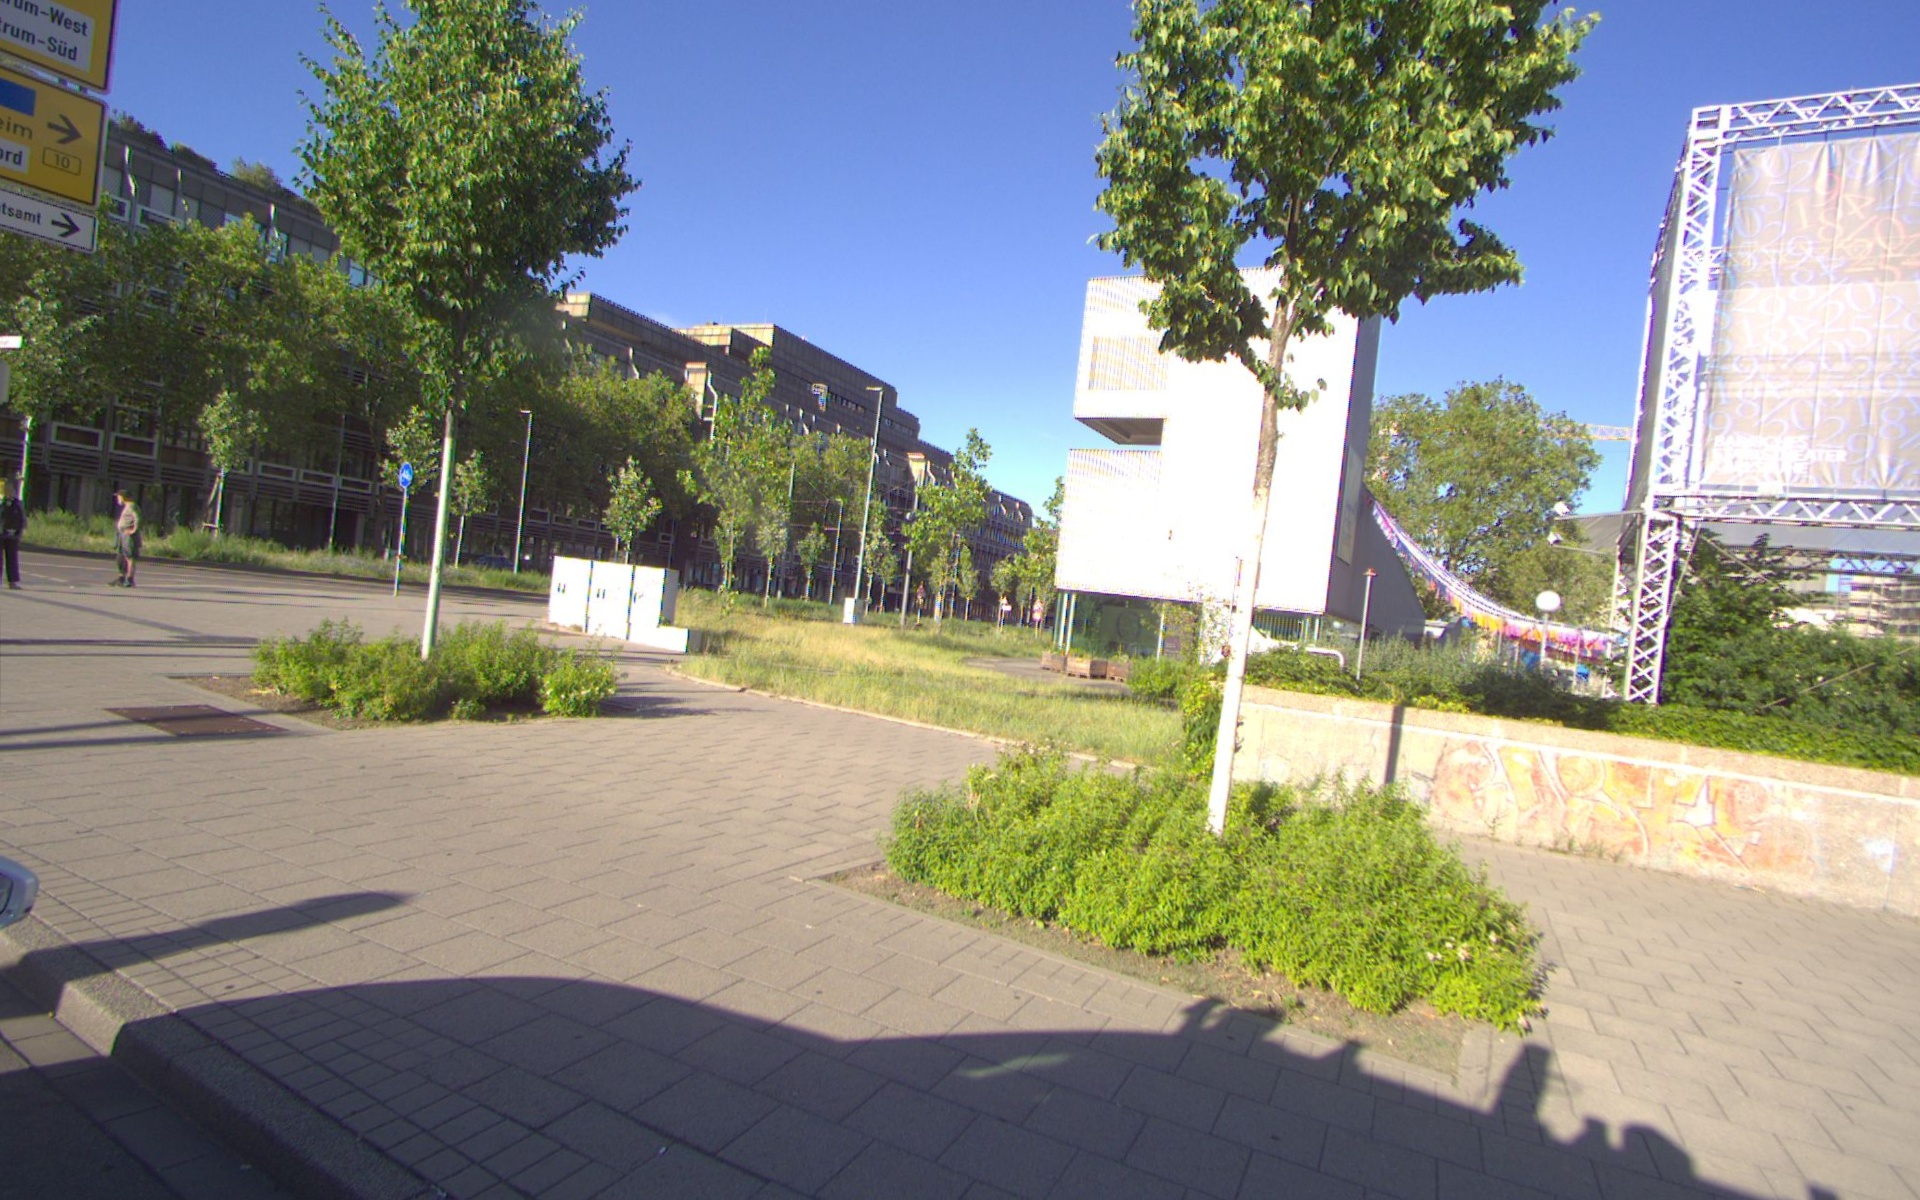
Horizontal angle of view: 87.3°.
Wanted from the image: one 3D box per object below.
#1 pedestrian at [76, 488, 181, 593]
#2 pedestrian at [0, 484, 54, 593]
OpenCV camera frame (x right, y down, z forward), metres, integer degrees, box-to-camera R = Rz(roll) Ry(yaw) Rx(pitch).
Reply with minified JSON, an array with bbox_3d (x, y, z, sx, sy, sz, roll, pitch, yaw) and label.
[{"bbox_3d":[-14.846,-1.041,17.974,0.946,1.684,0.882,7,-1,11],"label":"pedestrian"},{"bbox_3d":[-14.043,-0.923,14.785,0.633,1.510,0.789,6,-1,31],"label":"pedestrian"}]
